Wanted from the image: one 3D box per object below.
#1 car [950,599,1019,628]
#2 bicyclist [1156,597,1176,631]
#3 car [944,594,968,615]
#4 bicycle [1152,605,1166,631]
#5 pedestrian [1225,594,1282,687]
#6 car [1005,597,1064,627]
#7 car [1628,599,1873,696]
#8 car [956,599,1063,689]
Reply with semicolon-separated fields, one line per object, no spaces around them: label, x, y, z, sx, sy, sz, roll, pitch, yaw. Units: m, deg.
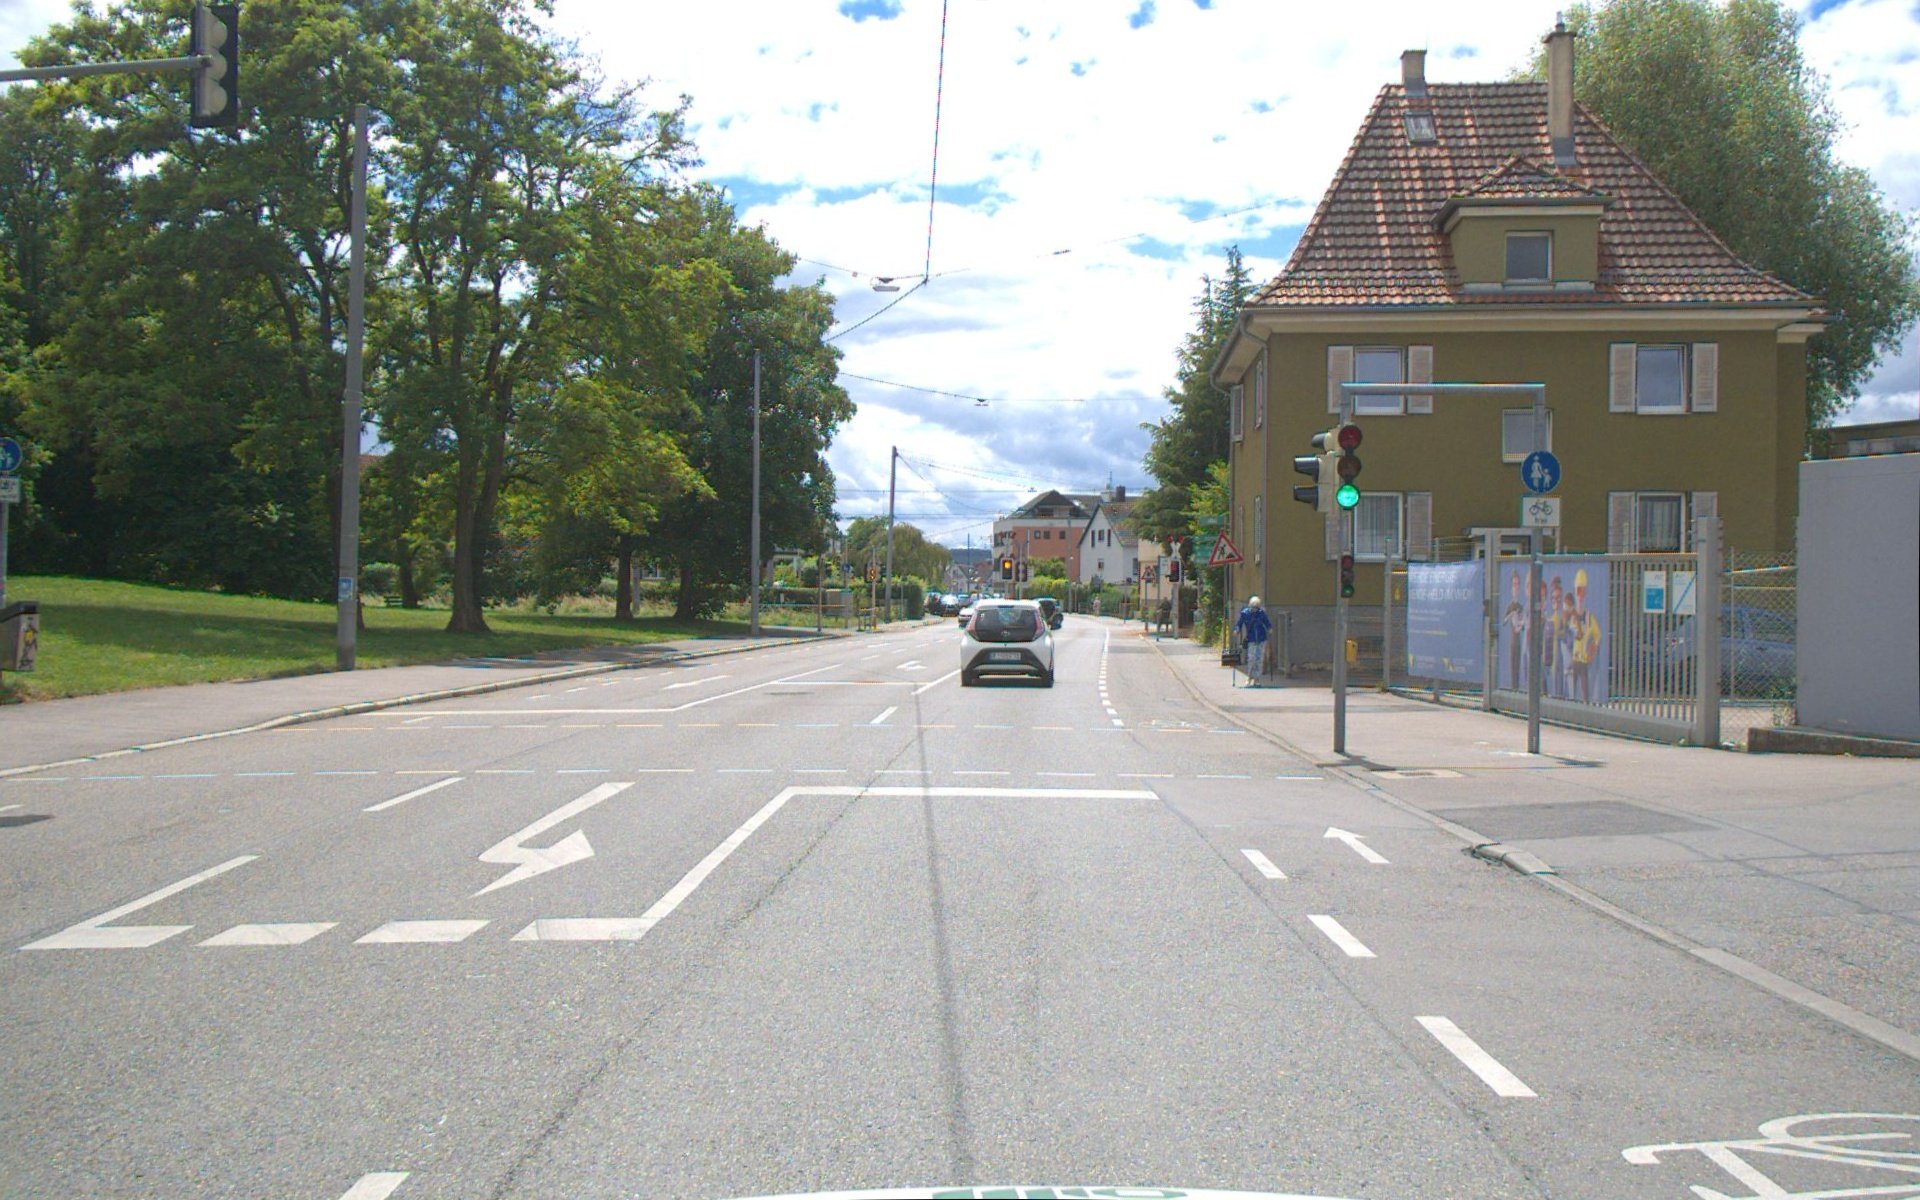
car;1.375;0.749;89.975;1.871;1.466;4.086;1;0;33
bicyclist;10.085;0.687;80.889;0.823;1.580;0.756;-2;2;-1
car;-0.364;0.355;141.255;1.953;1.749;3.999;1;0;-1
bicycle;9.760;0.890;80.970;0.448;1.192;1.479;-2;2;0
pedestrian;5.162;0.704;29.167;0.807;1.599;0.988;-1;0;0
car;4.459;0.700;98.766;3.284;1.684;1.726;1;0;-5
car;13.687;0.802;28.758;3.433;1.520;1.659;1;1;-1
car;0.944;0.748;29.778;1.685;1.467;3.710;1;0;5
